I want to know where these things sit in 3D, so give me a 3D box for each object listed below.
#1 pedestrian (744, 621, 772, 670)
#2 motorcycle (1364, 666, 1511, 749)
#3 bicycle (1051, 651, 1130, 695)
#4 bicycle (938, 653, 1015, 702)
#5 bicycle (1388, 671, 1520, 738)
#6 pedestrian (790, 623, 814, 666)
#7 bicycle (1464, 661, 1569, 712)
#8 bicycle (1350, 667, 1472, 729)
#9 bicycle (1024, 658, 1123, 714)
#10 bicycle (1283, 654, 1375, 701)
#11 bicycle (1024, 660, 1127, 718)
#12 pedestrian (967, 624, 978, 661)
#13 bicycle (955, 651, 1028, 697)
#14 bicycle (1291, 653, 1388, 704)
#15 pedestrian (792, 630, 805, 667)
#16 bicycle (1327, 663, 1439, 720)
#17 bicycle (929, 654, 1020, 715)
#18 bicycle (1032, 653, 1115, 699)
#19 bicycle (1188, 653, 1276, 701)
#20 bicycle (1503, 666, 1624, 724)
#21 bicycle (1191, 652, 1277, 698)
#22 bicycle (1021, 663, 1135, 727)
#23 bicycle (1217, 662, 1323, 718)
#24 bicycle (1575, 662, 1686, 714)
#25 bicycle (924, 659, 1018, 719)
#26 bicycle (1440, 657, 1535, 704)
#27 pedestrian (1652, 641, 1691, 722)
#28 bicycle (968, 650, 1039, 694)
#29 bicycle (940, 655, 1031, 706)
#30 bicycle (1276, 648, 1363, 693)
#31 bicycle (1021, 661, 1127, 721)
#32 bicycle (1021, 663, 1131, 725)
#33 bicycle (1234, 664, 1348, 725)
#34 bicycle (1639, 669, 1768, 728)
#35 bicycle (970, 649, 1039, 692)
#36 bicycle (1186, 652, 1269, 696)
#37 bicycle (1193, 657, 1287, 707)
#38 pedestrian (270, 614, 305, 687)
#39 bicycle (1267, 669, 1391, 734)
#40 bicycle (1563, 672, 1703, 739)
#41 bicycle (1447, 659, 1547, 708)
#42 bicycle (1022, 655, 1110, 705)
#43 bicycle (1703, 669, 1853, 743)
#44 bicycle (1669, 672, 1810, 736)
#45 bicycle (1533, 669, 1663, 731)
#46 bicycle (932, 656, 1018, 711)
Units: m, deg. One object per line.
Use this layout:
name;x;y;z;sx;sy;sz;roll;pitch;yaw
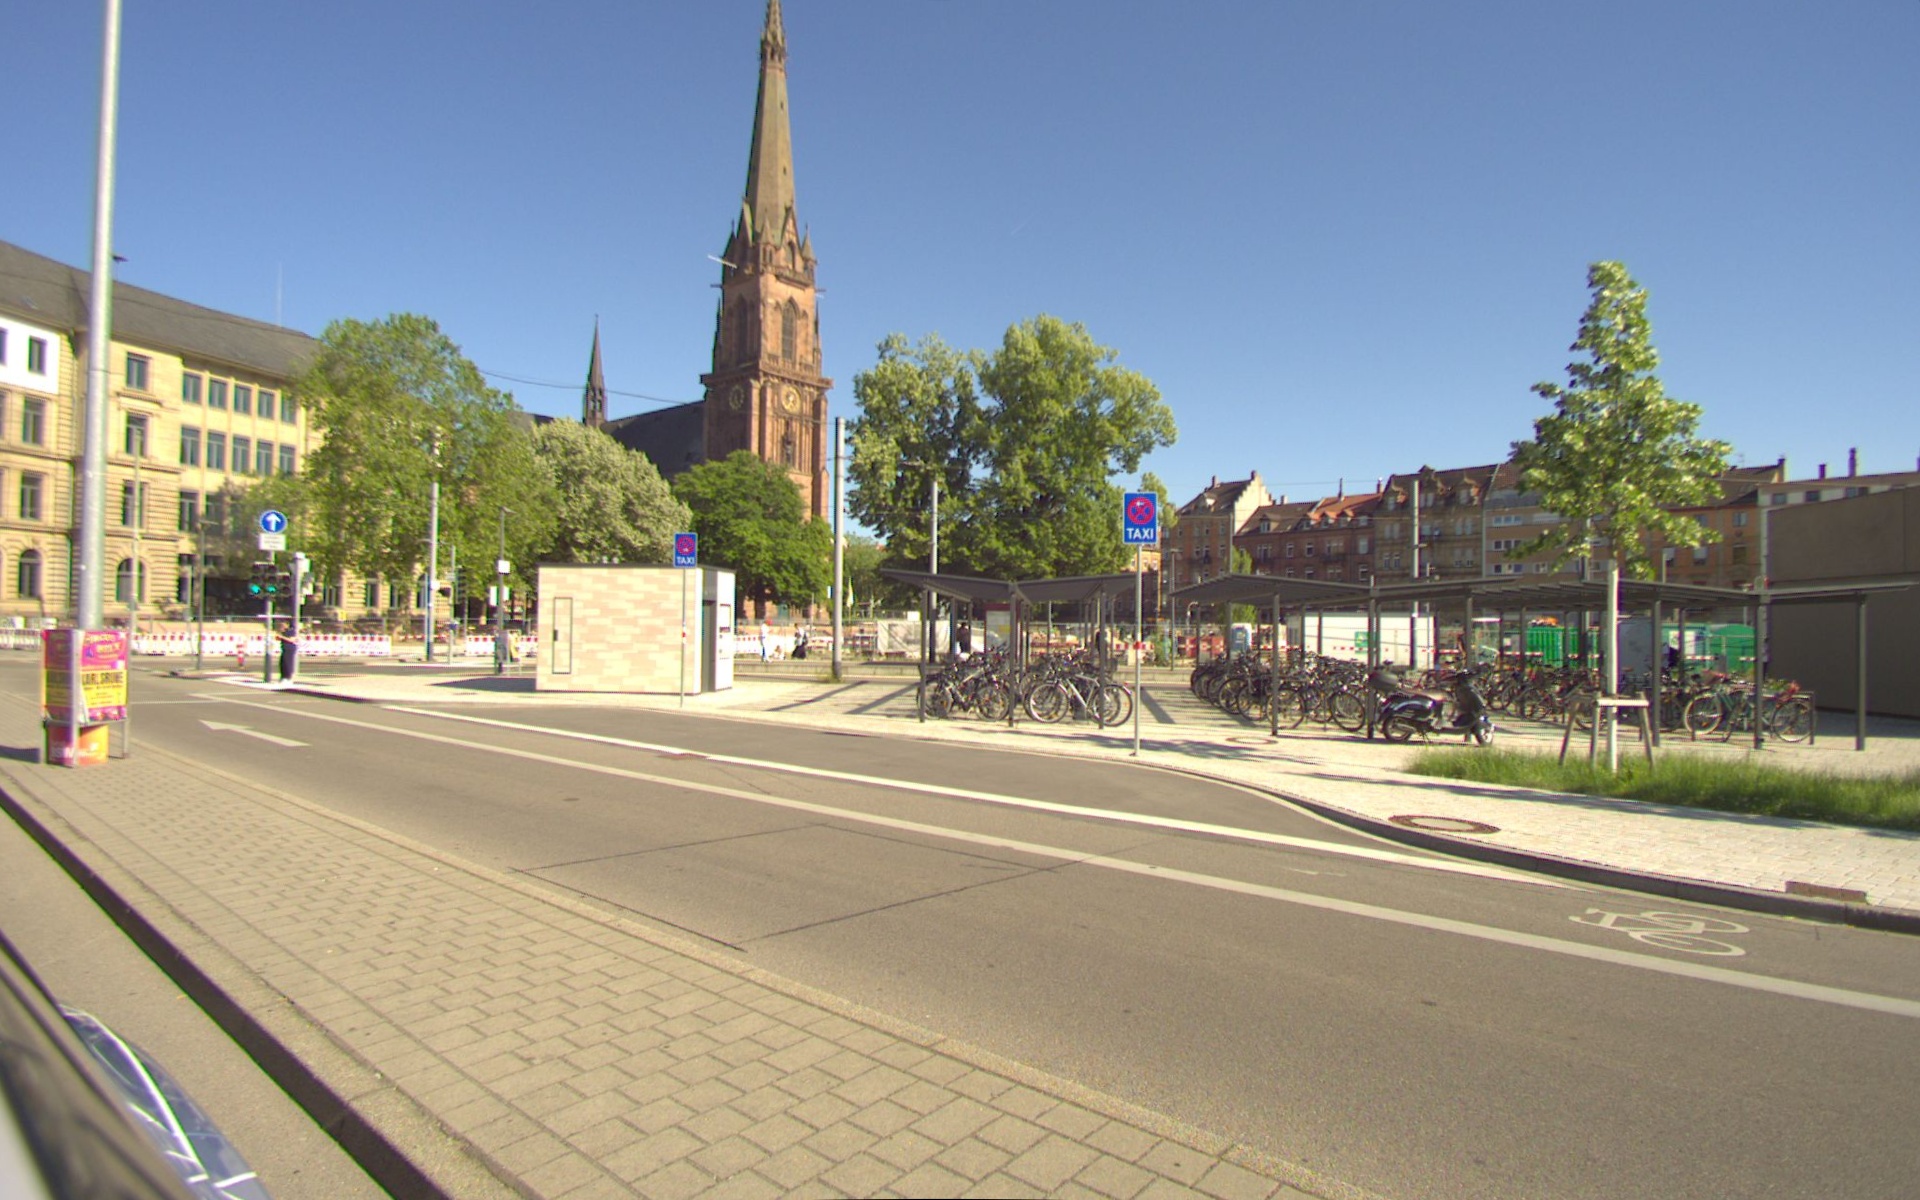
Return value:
pedestrian;-7.529;1.705;37.785;0.792;1.793;0.977;0;-2;3
motorcycle;7.160;1.602;15.230;1.924;1.160;0.516;0;-2;6
bicycle;3.160;1.776;24.603;1.882;1.016;0.456;0;-2;8
bicycle;0.370;1.690;22.228;1.652;1.016;0.456;0;-2;8
bicycle;8.027;1.691;16.498;1.882;1.016;0.456;0;-2;8
pedestrian;-6.674;1.889;42.785;0.792;1.793;0.977;0;-2;3
bicycle;11.713;1.814;21.317;1.882;1.016;0.456;0;-2;8
bicycle;7.893;1.708;17.767;1.882;1.016;0.456;0;-2;8
bicycle;2.195;1.658;19.589;1.882;1.016;0.456;0;-2;8
bicycle;8.314;1.735;22.822;1.882;1.016;0.456;0;-2;8
bicycle;2.135;1.645;18.748;1.882;1.016;0.456;0;-2;8
pedestrian;0.596;1.991;47.555;0.399;1.734;0.419;1;-2;-11
bicycle;0.745;1.709;23.486;1.652;1.016;0.456;0;-2;8
bicycle;8.055;1.660;21.524;1.882;1.016;0.456;0;-2;8
pedestrian;-9.508;2.866;59.697;0.545;2.171;0.568;0;-2;15
bicycle;7.917;1.712;19.000;1.882;1.016;0.456;0;-2;8
bicycle;0.279;1.558;18.781;1.652;1.069;0.456;0;-2;8
bicycle;2.604;1.747;23.308;1.882;1.016;0.456;0;-2;8
bicycle;6.147;1.737;22.947;1.882;1.016;0.456;0;-2;8
bicycle;11.163;1.756;18.762;1.882;1.016;0.456;0;-2;8
bicycle;6.364;1.731;23.571;1.882;1.016;0.456;0;-2;8
bicycle;1.988;1.602;17.118;1.882;1.016;0.456;0;-2;8
bicycle;5.896;1.708;19.327;1.882;1.016;0.456;0;-2;8
bicycle;13.872;1.818;20.976;1.882;1.016;0.456;0;-2;8
bicycle;0.200;1.585;18.195;1.652;1.016;0.456;0;-2;8
bicycle;12.077;1.836;23.199;1.882;1.016;0.456;0;-2;8
pedestrian;18.203;2.066;25.895;0.718;2.029;0.678;-1;-2;41
bicycle;1.040;1.714;24.230;1.652;1.016;0.456;0;-2;8
bicycle;0.542;1.674;21.230;1.882;1.016;0.456;0;-2;8
bicycle;8.485;1.652;23.914;1.882;1.016;0.456;0;-2;8
bicycle;2.053;1.632;18.265;1.882;1.016;0.456;0;-2;8
bicycle;2.018;1.623;17.678;1.882;1.016;0.456;0;-2;8
bicycle;5.898;1.683;18.097;1.882;1.016;0.456;0;-2;8
bicycle;13.468;1.776;18.369;1.882;1.016;0.456;0;-2;8
bicycle;1.105;1.728;24.946;1.652;1.016;0.456;0;-2;8
bicycle;6.392;1.761;24.230;1.882;1.016;0.456;0;-2;8
bicycle;5.964;1.746;21.613;1.882;1.016;0.456;0;-2;8
pedestrian;-17.541;1.295;26.408;0.683;1.868;0.680;2;-2;-36
bicycle;6.120;1.682;16.844;1.882;1.016;0.456;0;-2;8
bicycle;10.971;1.717;16.541;1.882;1.016;0.456;0;-2;8
bicycle;11.782;1.824;22.248;1.882;1.016;0.456;0;-2;8
bicycle;2.296;1.721;21.925;1.882;1.016;0.456;0;-2;8
bicycle;13.081;1.685;16.211;1.882;1.106;0.456;0;-2;8
bicycle;13.127;1.743;17.070;1.882;1.016;0.456;0;-2;8
bicycle;11.099;1.732;17.646;1.882;1.016;0.456;0;-2;8
bicycle;0.304;1.629;19.892;1.652;1.016;0.456;0;-2;8
